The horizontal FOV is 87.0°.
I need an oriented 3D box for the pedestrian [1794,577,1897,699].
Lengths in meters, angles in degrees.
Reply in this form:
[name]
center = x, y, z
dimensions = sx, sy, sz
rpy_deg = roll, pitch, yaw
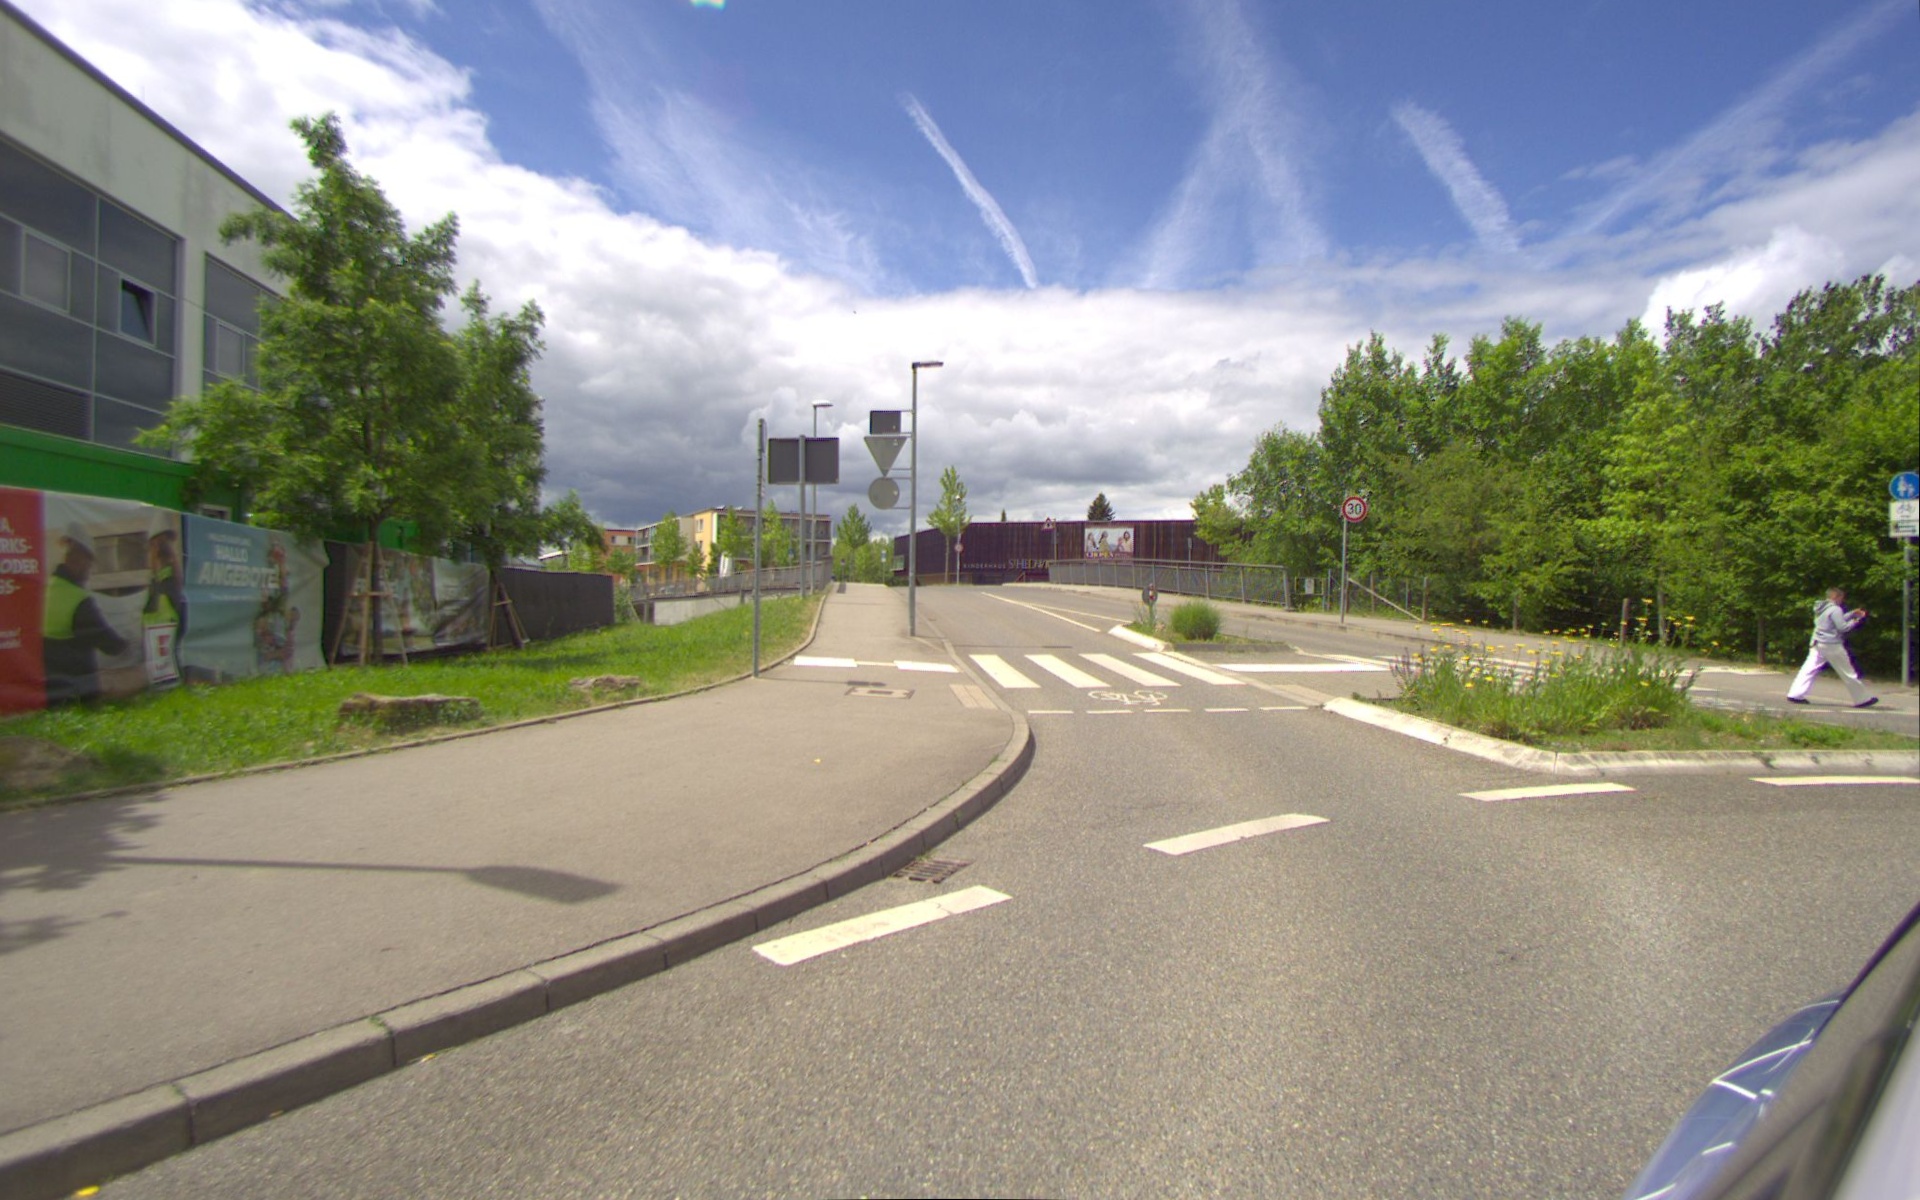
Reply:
[pedestrian]
center = 11.631, 0.489, 13.305
dimensions = 0.945, 1.553, 0.458
rpy_deg = 1, 0, -1
